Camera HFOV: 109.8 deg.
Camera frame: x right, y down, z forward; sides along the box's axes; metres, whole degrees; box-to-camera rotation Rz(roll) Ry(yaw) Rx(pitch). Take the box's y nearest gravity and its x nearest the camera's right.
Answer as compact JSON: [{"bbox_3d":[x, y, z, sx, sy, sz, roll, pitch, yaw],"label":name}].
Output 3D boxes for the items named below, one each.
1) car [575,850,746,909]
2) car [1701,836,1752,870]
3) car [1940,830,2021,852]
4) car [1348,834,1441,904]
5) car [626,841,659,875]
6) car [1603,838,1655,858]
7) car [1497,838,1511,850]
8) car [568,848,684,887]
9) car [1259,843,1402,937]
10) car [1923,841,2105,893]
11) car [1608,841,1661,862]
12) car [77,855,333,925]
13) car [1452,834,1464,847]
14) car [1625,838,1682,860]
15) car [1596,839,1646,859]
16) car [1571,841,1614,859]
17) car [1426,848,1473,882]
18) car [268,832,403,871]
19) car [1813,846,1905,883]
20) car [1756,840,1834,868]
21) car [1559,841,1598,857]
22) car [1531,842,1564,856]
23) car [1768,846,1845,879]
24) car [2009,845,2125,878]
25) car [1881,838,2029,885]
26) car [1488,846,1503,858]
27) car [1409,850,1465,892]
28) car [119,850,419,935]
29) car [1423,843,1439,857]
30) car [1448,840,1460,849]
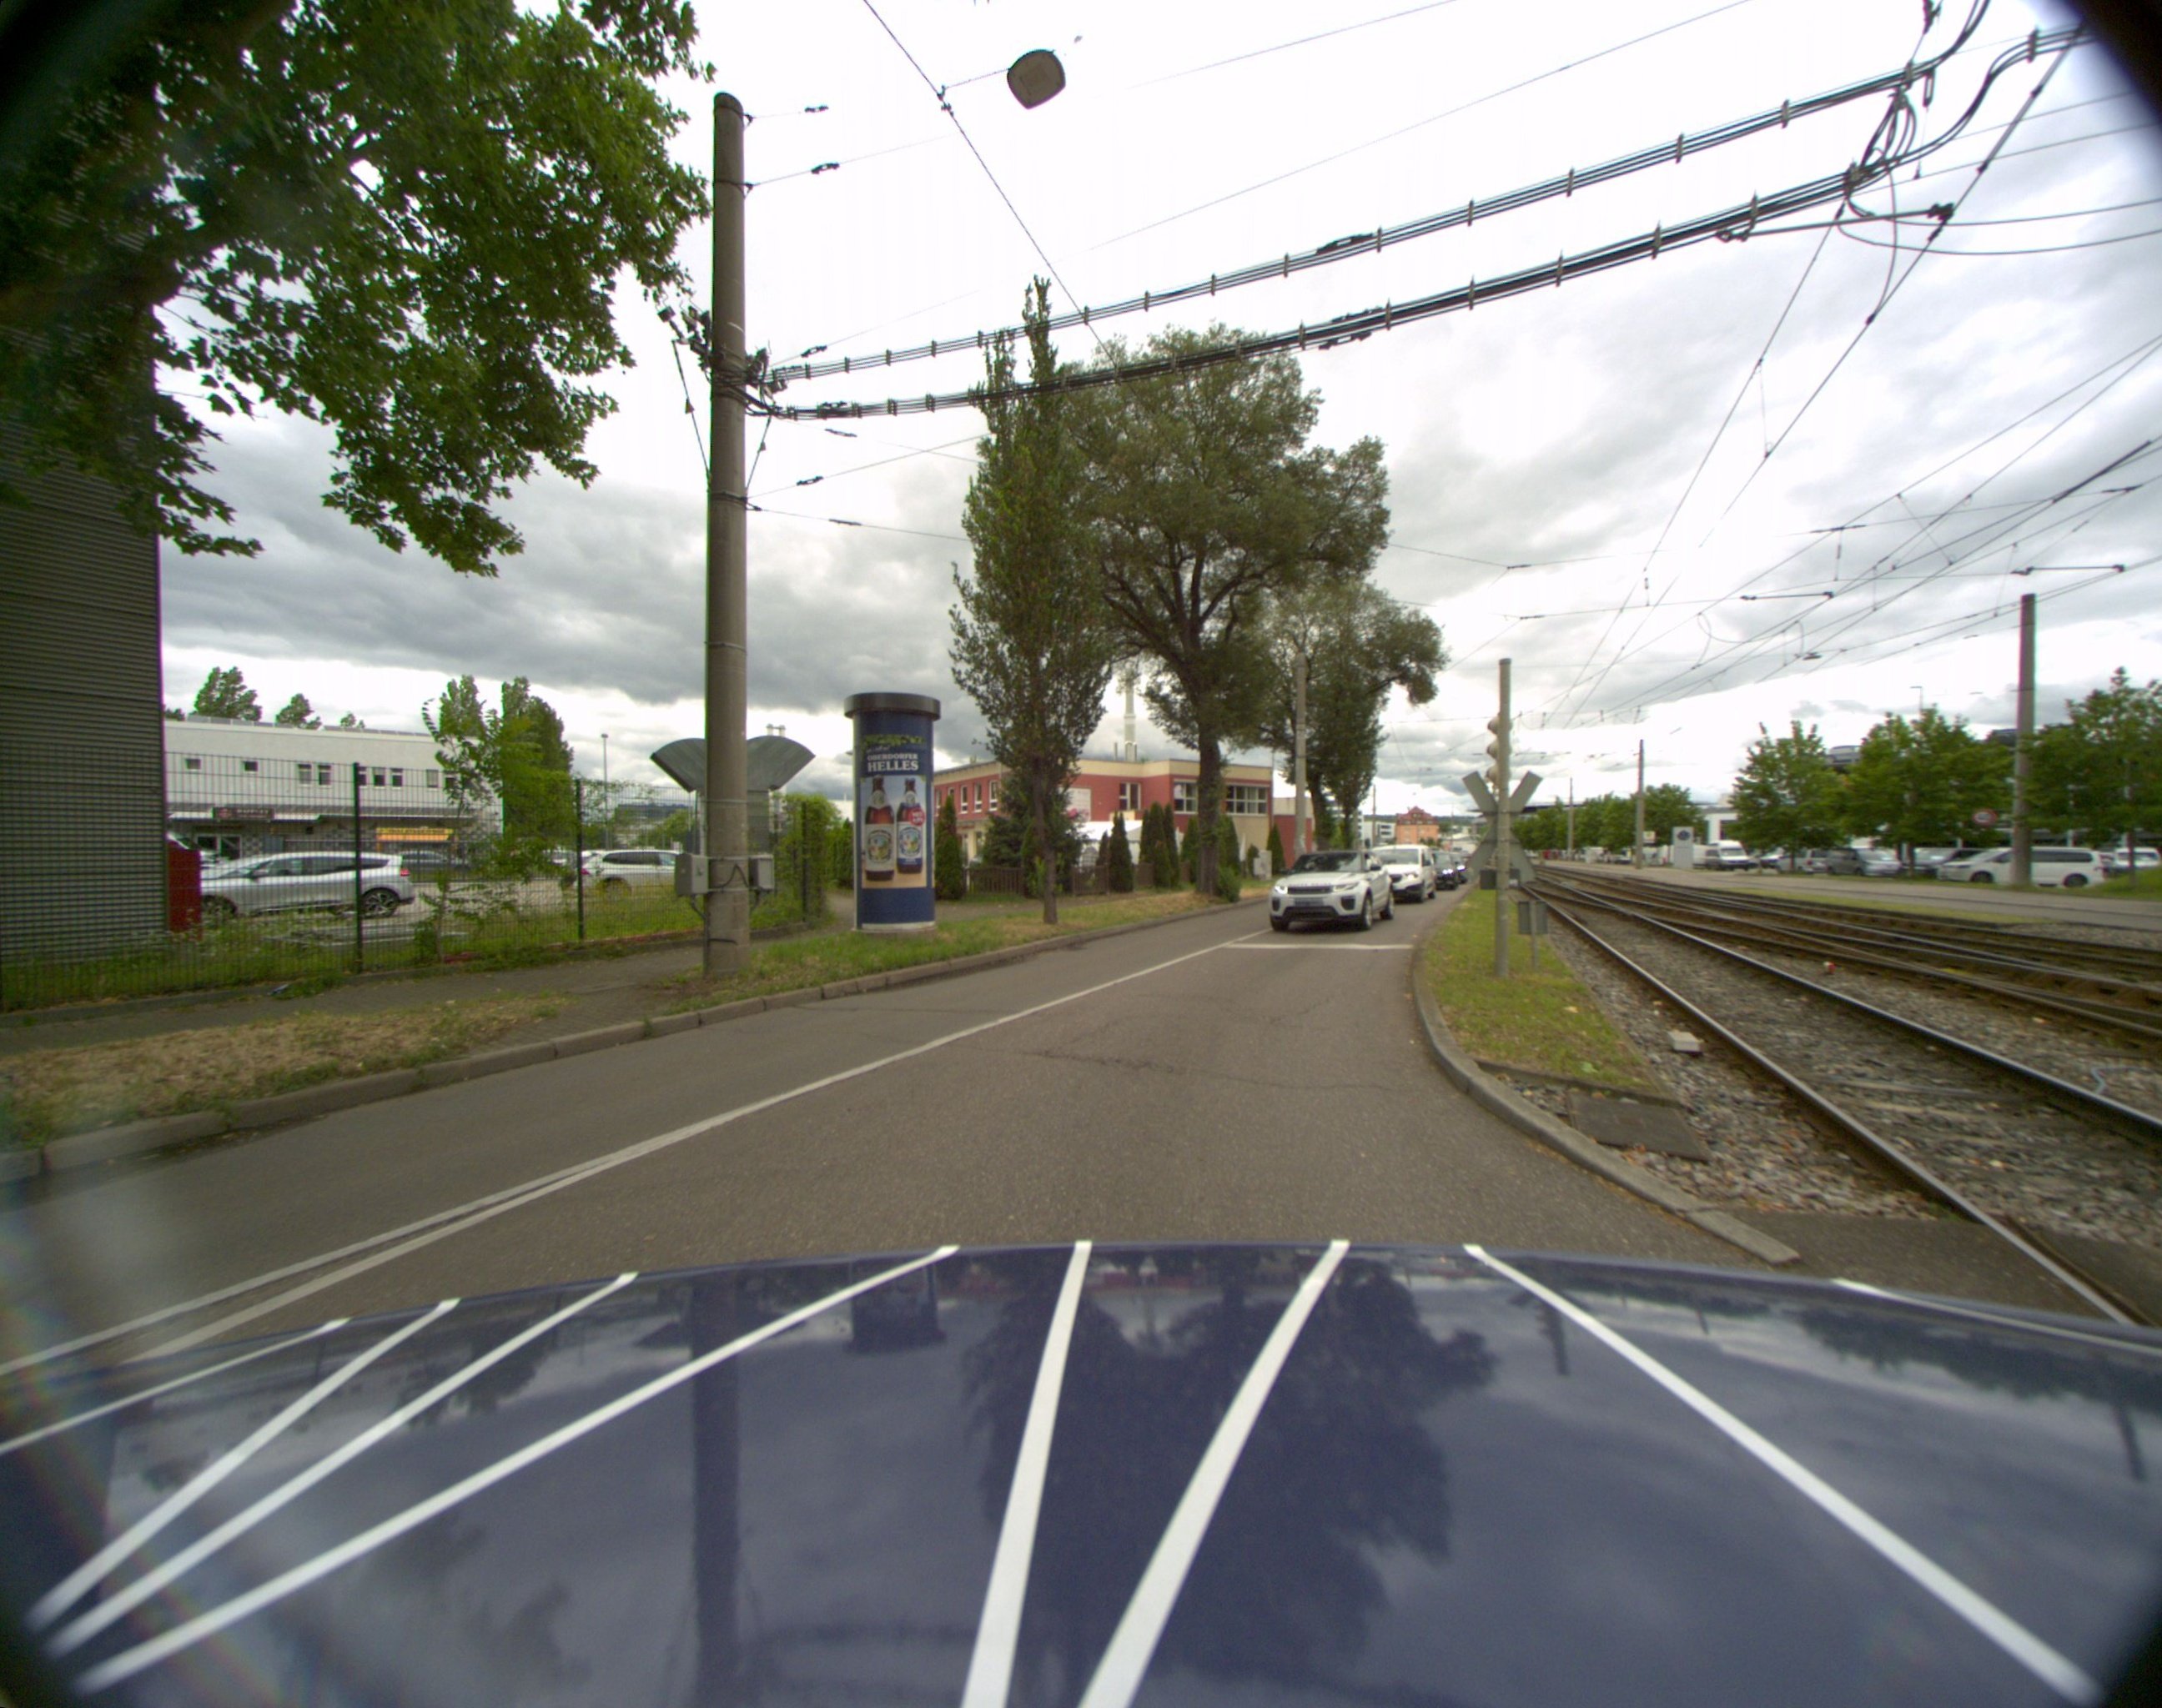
[{"bbox_3d":[-13.119,0.714,23.807,4.509,1.656,1.995,-1,1,-34],"label":"car"},{"bbox_3d":[61.136,-0.135,72.076,2.316,2.993,6.169,-3,0,28],"label":"car"},{"bbox_3d":[90.772,-1.294,76.770,1.984,1.825,5.215,-3,0,-41],"label":"car"},{"bbox_3d":[10.024,0.409,24.057,1.994,1.990,5.044,-1,0,31],"label":"car"},{"bbox_3d":[-41.178,0.400,71.321,1.977,2.945,5.575,-3,0,-36],"label":"car"},{"bbox_3d":[66.313,-0.749,92.075,4.630,2.196,2.112,-3,0,21],"label":"car"},{"bbox_3d":[74.401,-1.775,133.691,1.900,1.709,4.142,7,5,27],"label":"car"},{"bbox_3d":[-21.236,0.586,35.501,4.509,1.656,1.995,-1,1,-34],"label":"car"},{"bbox_3d":[5.392,0.635,16.031,1.995,1.680,4.277,-1,0,30],"label":"car"},{"bbox_3d":[45.850,0.643,37.525,5.259,2.254,2.003,-3,0,25],"label":"car"},{"bbox_3d":[65.344,-0.270,89.827,4.630,2.196,2.112,-3,0,21],"label":"car"},{"bbox_3d":[-23.956,0.905,21.119,1.999,1.656,4.499,-1,1,-3],"label":"car"},{"bbox_3d":[91.230,-3.307,183.803,2.406,2.931,4.757,-3,0,26],"label":"car"},{"bbox_3d":[63.830,-0.575,84.843,4.630,2.196,2.112,-3,0,21],"label":"car"},{"bbox_3d":[67.265,-0.582,94.732,4.630,2.196,2.112,-3,0,21],"label":"car"},{"bbox_3d":[72.605,-0.586,107.875,4.630,2.196,2.112,-3,0,21],"label":"car"},{"bbox_3d":[18.859,0.516,38.918,1.995,1.547,4.568,-2,0,26],"label":"car"},{"bbox_3d":[-34.951,-0.124,35.805,4.278,1.640,1.995,-3,0,-37],"label":"car"},{"bbox_3d":[48.368,0.599,47.389,2.138,2.103,4.783,-3,0,21],"label":"car"},{"bbox_3d":[73.289,0.007,78.049,6.046,2.607,2.321,-3,0,-6],"label":"car"},{"bbox_3d":[76.661,-0.725,117.090,4.630,2.196,2.112,-3,0,21],"label":"car"},{"bbox_3d":[83.984,-0.951,136.861,4.630,2.196,2.112,-3,0,21],"label":"car"},{"bbox_3d":[50.706,0.540,53.241,2.138,2.103,4.783,-3,0,20],"label":"car"},{"bbox_3d":[61.581,0.503,47.599,1.984,1.825,4.226,-3,0,-43],"label":"car"},{"bbox_3d":[47.050,0.430,41.065,4.765,2.254,1.983,-3,0,25],"label":"car"},{"bbox_3d":[67.644,-0.345,123.948,1.902,1.708,4.142,-2,1,26],"label":"car"},{"bbox_3d":[15.247,0.682,32.456,1.995,1.547,4.568,-2,0,26],"label":"car"},{"bbox_3d":[-18.463,0.803,17.557,1.995,1.639,4.278,-3,0,26],"label":"car"},{"bbox_3d":[46.603,-0.589,101.207,1.866,1.739,4.006,-3,0,24],"label":"car"},{"bbox_3d":[87.145,-2.258,177.514,1.996,2.002,4.006,-3,0,21],"label":"car"}]
